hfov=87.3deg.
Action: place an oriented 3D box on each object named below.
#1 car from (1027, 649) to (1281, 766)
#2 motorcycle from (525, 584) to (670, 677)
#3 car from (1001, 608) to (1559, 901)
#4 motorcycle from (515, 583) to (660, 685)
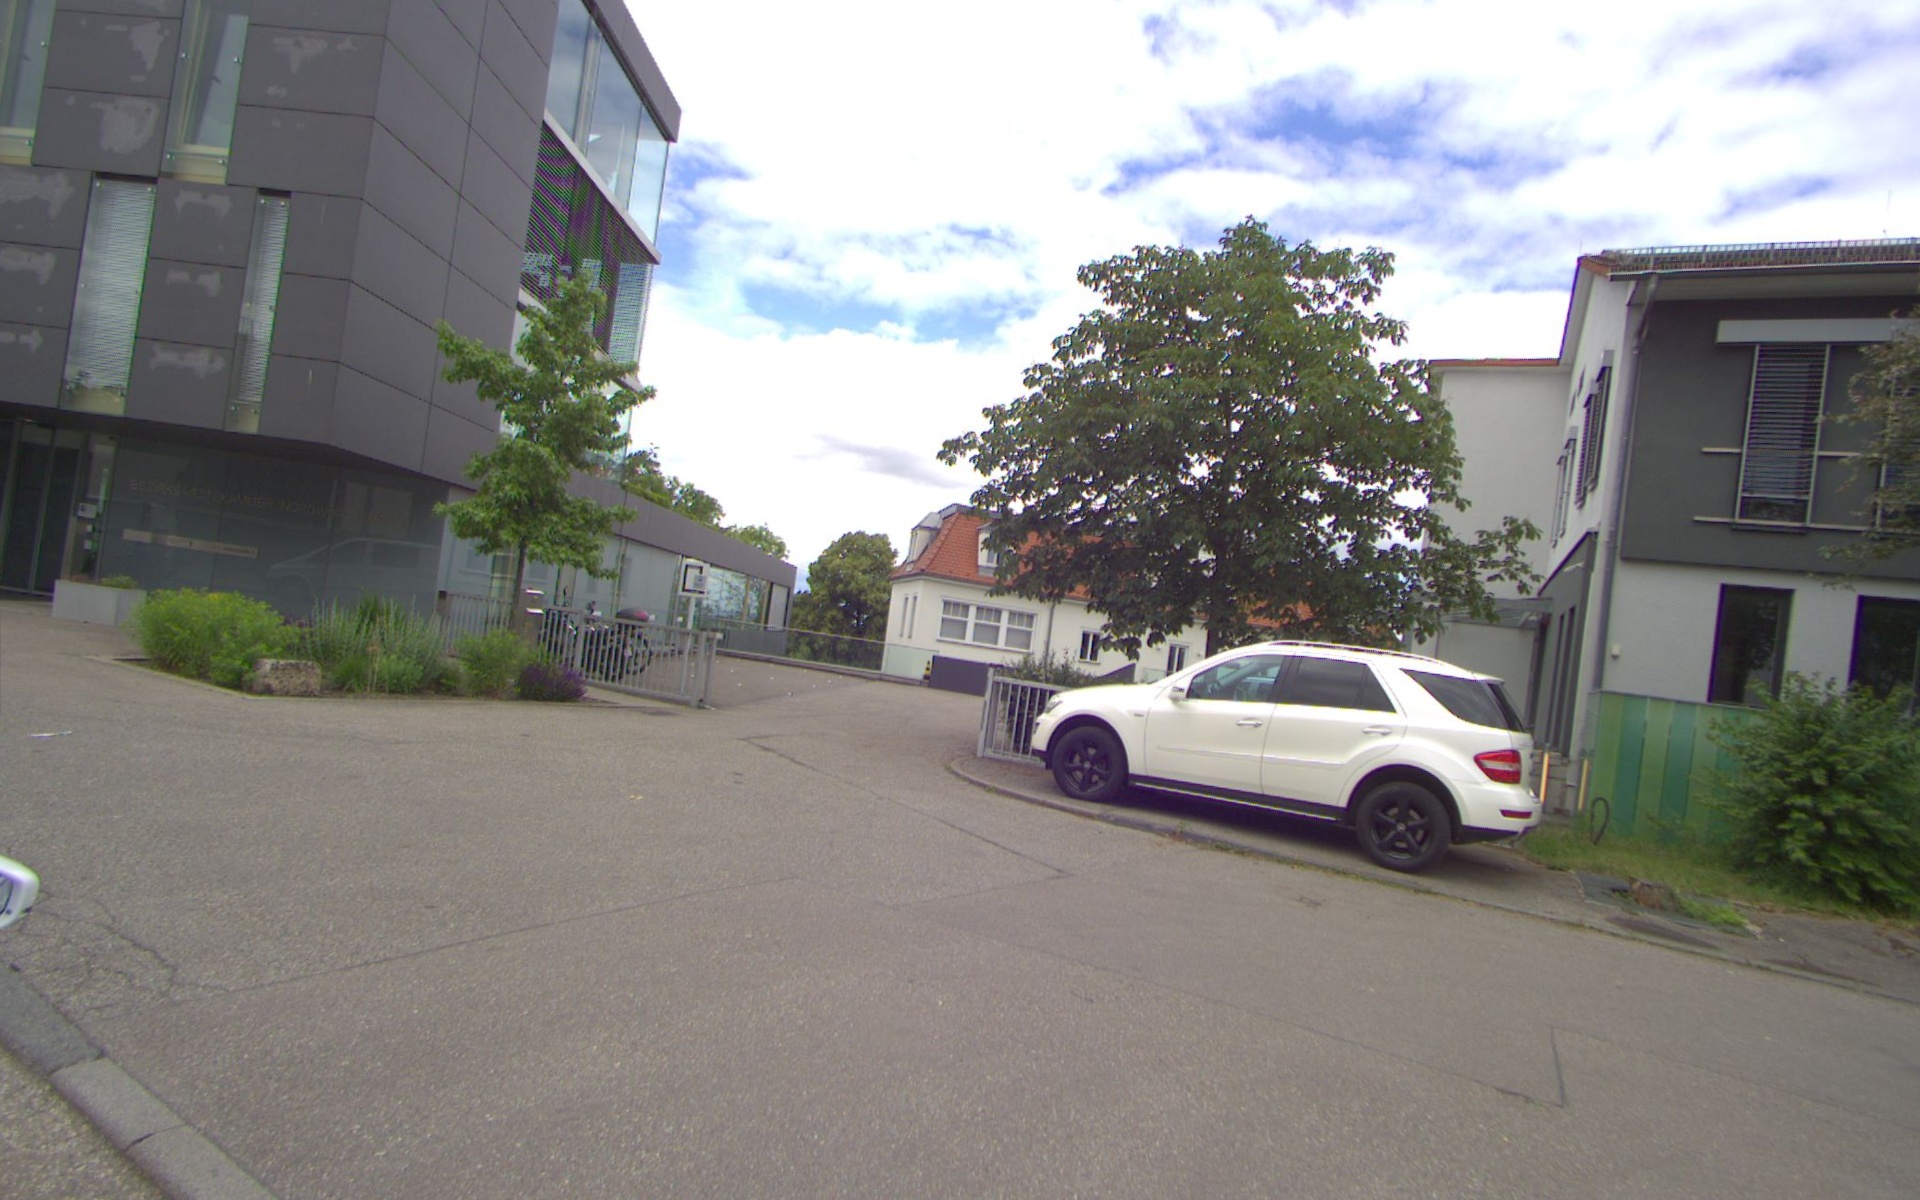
[{"bbox_3d":[3.499,1.889,18.214,4.142,1.501,1.621,5,-2,25],"label":"car"},{"bbox_3d":[-6.749,0.569,18.746,2.416,1.409,0.671,7,-1,13],"label":"motorcycle"},{"bbox_3d":[2.960,1.284,9.691,4.643,1.778,1.856,7,-2,31],"label":"car"},{"bbox_3d":[-6.204,0.569,16.772,2.084,1.409,0.671,7,-1,13],"label":"motorcycle"}]
